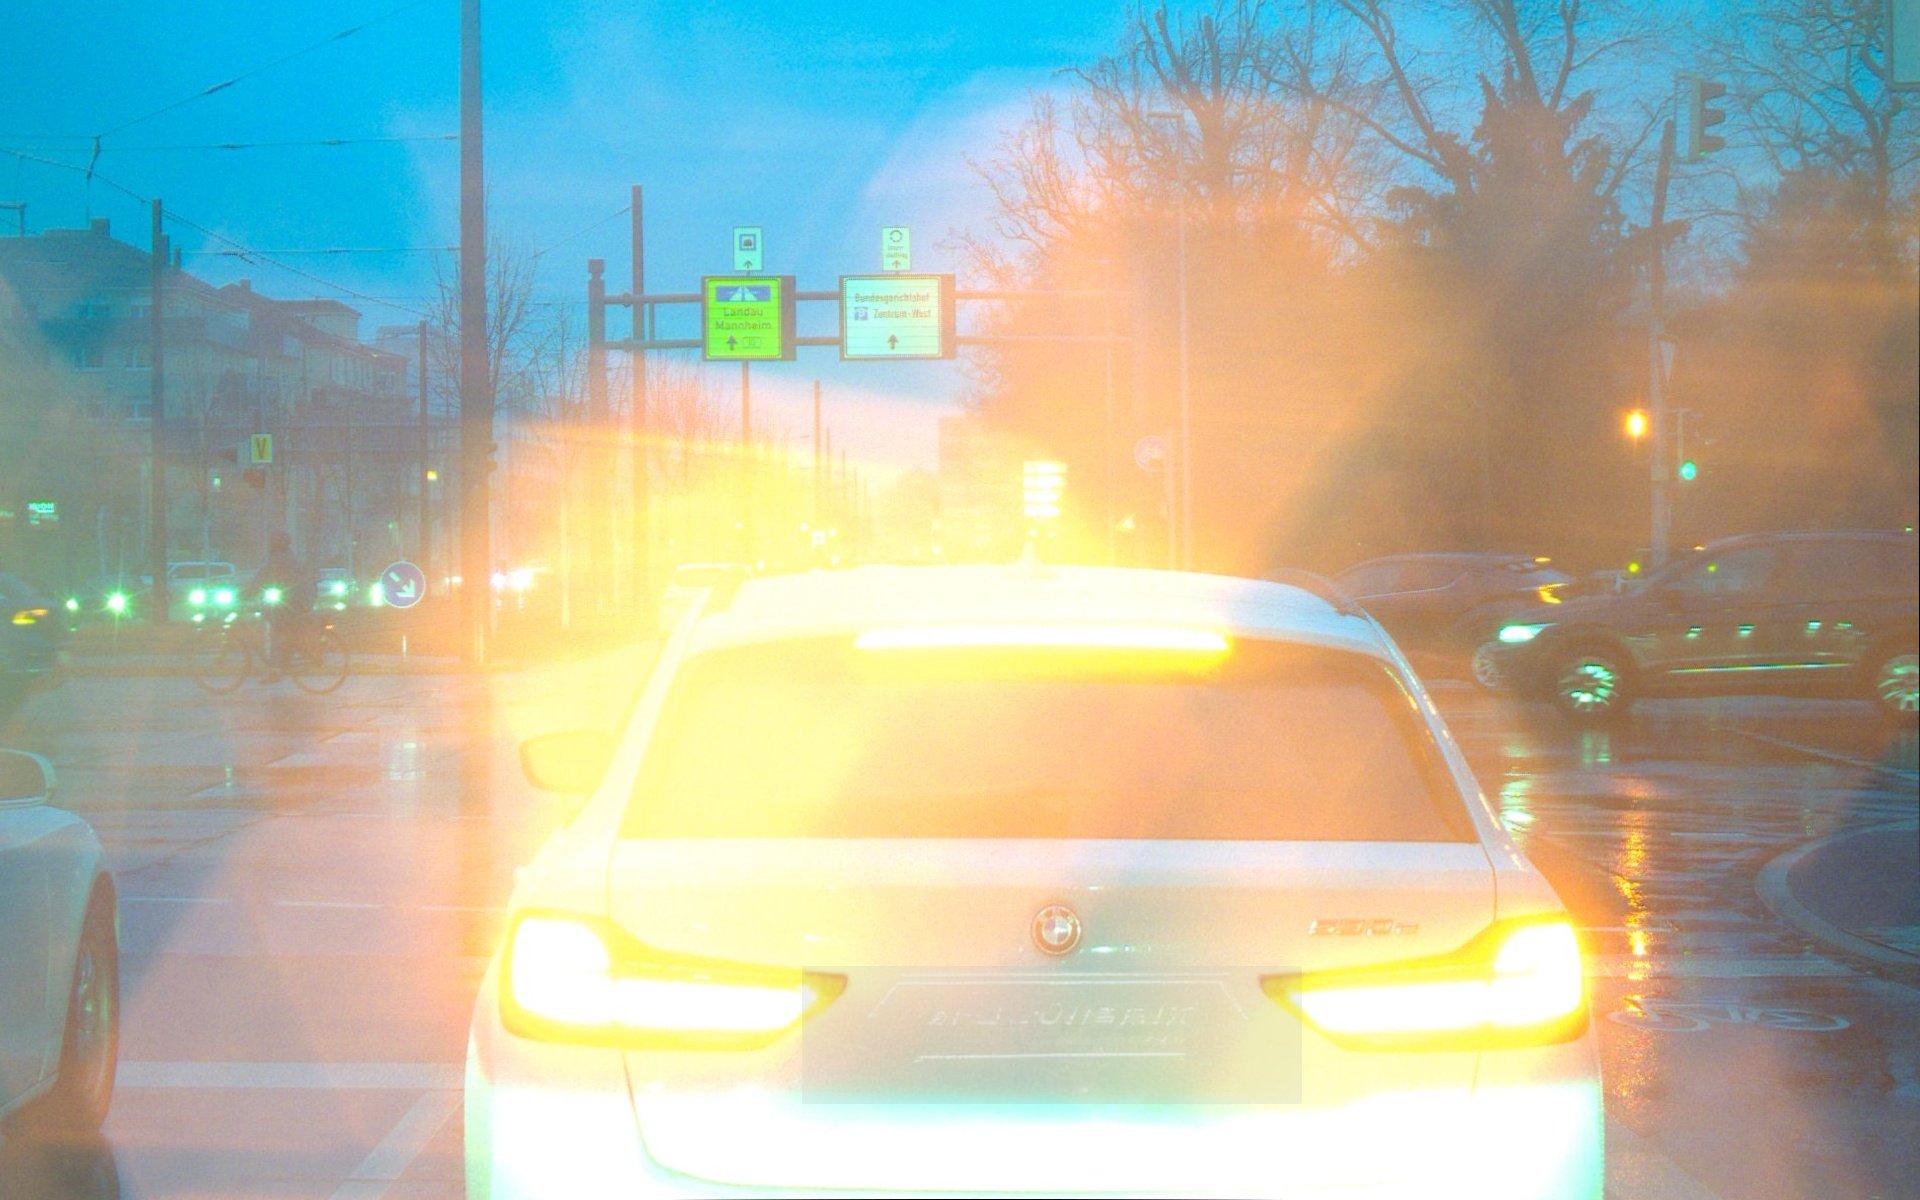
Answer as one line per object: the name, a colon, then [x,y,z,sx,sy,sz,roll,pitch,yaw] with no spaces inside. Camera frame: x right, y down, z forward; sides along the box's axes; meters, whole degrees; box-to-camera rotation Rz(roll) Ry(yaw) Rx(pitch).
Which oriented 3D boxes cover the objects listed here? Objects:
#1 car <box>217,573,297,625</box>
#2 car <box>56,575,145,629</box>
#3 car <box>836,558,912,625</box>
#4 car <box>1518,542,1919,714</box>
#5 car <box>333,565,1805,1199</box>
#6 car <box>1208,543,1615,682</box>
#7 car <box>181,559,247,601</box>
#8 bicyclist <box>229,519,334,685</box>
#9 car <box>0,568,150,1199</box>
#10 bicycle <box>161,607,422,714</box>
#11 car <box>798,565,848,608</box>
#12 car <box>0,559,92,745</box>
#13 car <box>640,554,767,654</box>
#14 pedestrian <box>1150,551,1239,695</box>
car: [-21.165,-0.025,103.669,1.675,1.502,3.696,1,0,-1]
car: [-24.818,0.051,99.354,1.675,1.502,3.696,1,0,-1]
car: [-2.170,-0.214,86.547,1.843,1.603,3.945,1,0,-2]
car: [7.020,0.232,29.978,4.095,1.436,1.838,0,0,15]
car: [0.058,0.678,6.839,1.993,1.451,4.369,0,1,-2]
car: [4.893,0.120,37.340,3.993,1.397,1.755,1,0,28]
car: [-27.614,-0.728,127.387,1.675,1.502,3.696,1,0,-1]
bicyclist: [-7.328,0.020,37.181,0.972,1.753,0.813,1,0,-3]
car: [-3.087,0.676,7.057,1.993,1.451,4.369,0,1,-2]
bicycle: [-7.206,0.646,37.178,2.666,1.085,0.815,1,0,-4]
car: [-5.227,-0.517,131.571,1.843,1.603,3.945,1,0,-2]
car: [-9.966,0.413,30.783,3.986,1.617,1.719,1,0,-5]
car: [-4.251,0.052,56.528,1.743,1.548,3.969,1,0,-9]
pedestrian: [3.080,0.300,45.105,0.904,1.850,0.811,1,0,24]
